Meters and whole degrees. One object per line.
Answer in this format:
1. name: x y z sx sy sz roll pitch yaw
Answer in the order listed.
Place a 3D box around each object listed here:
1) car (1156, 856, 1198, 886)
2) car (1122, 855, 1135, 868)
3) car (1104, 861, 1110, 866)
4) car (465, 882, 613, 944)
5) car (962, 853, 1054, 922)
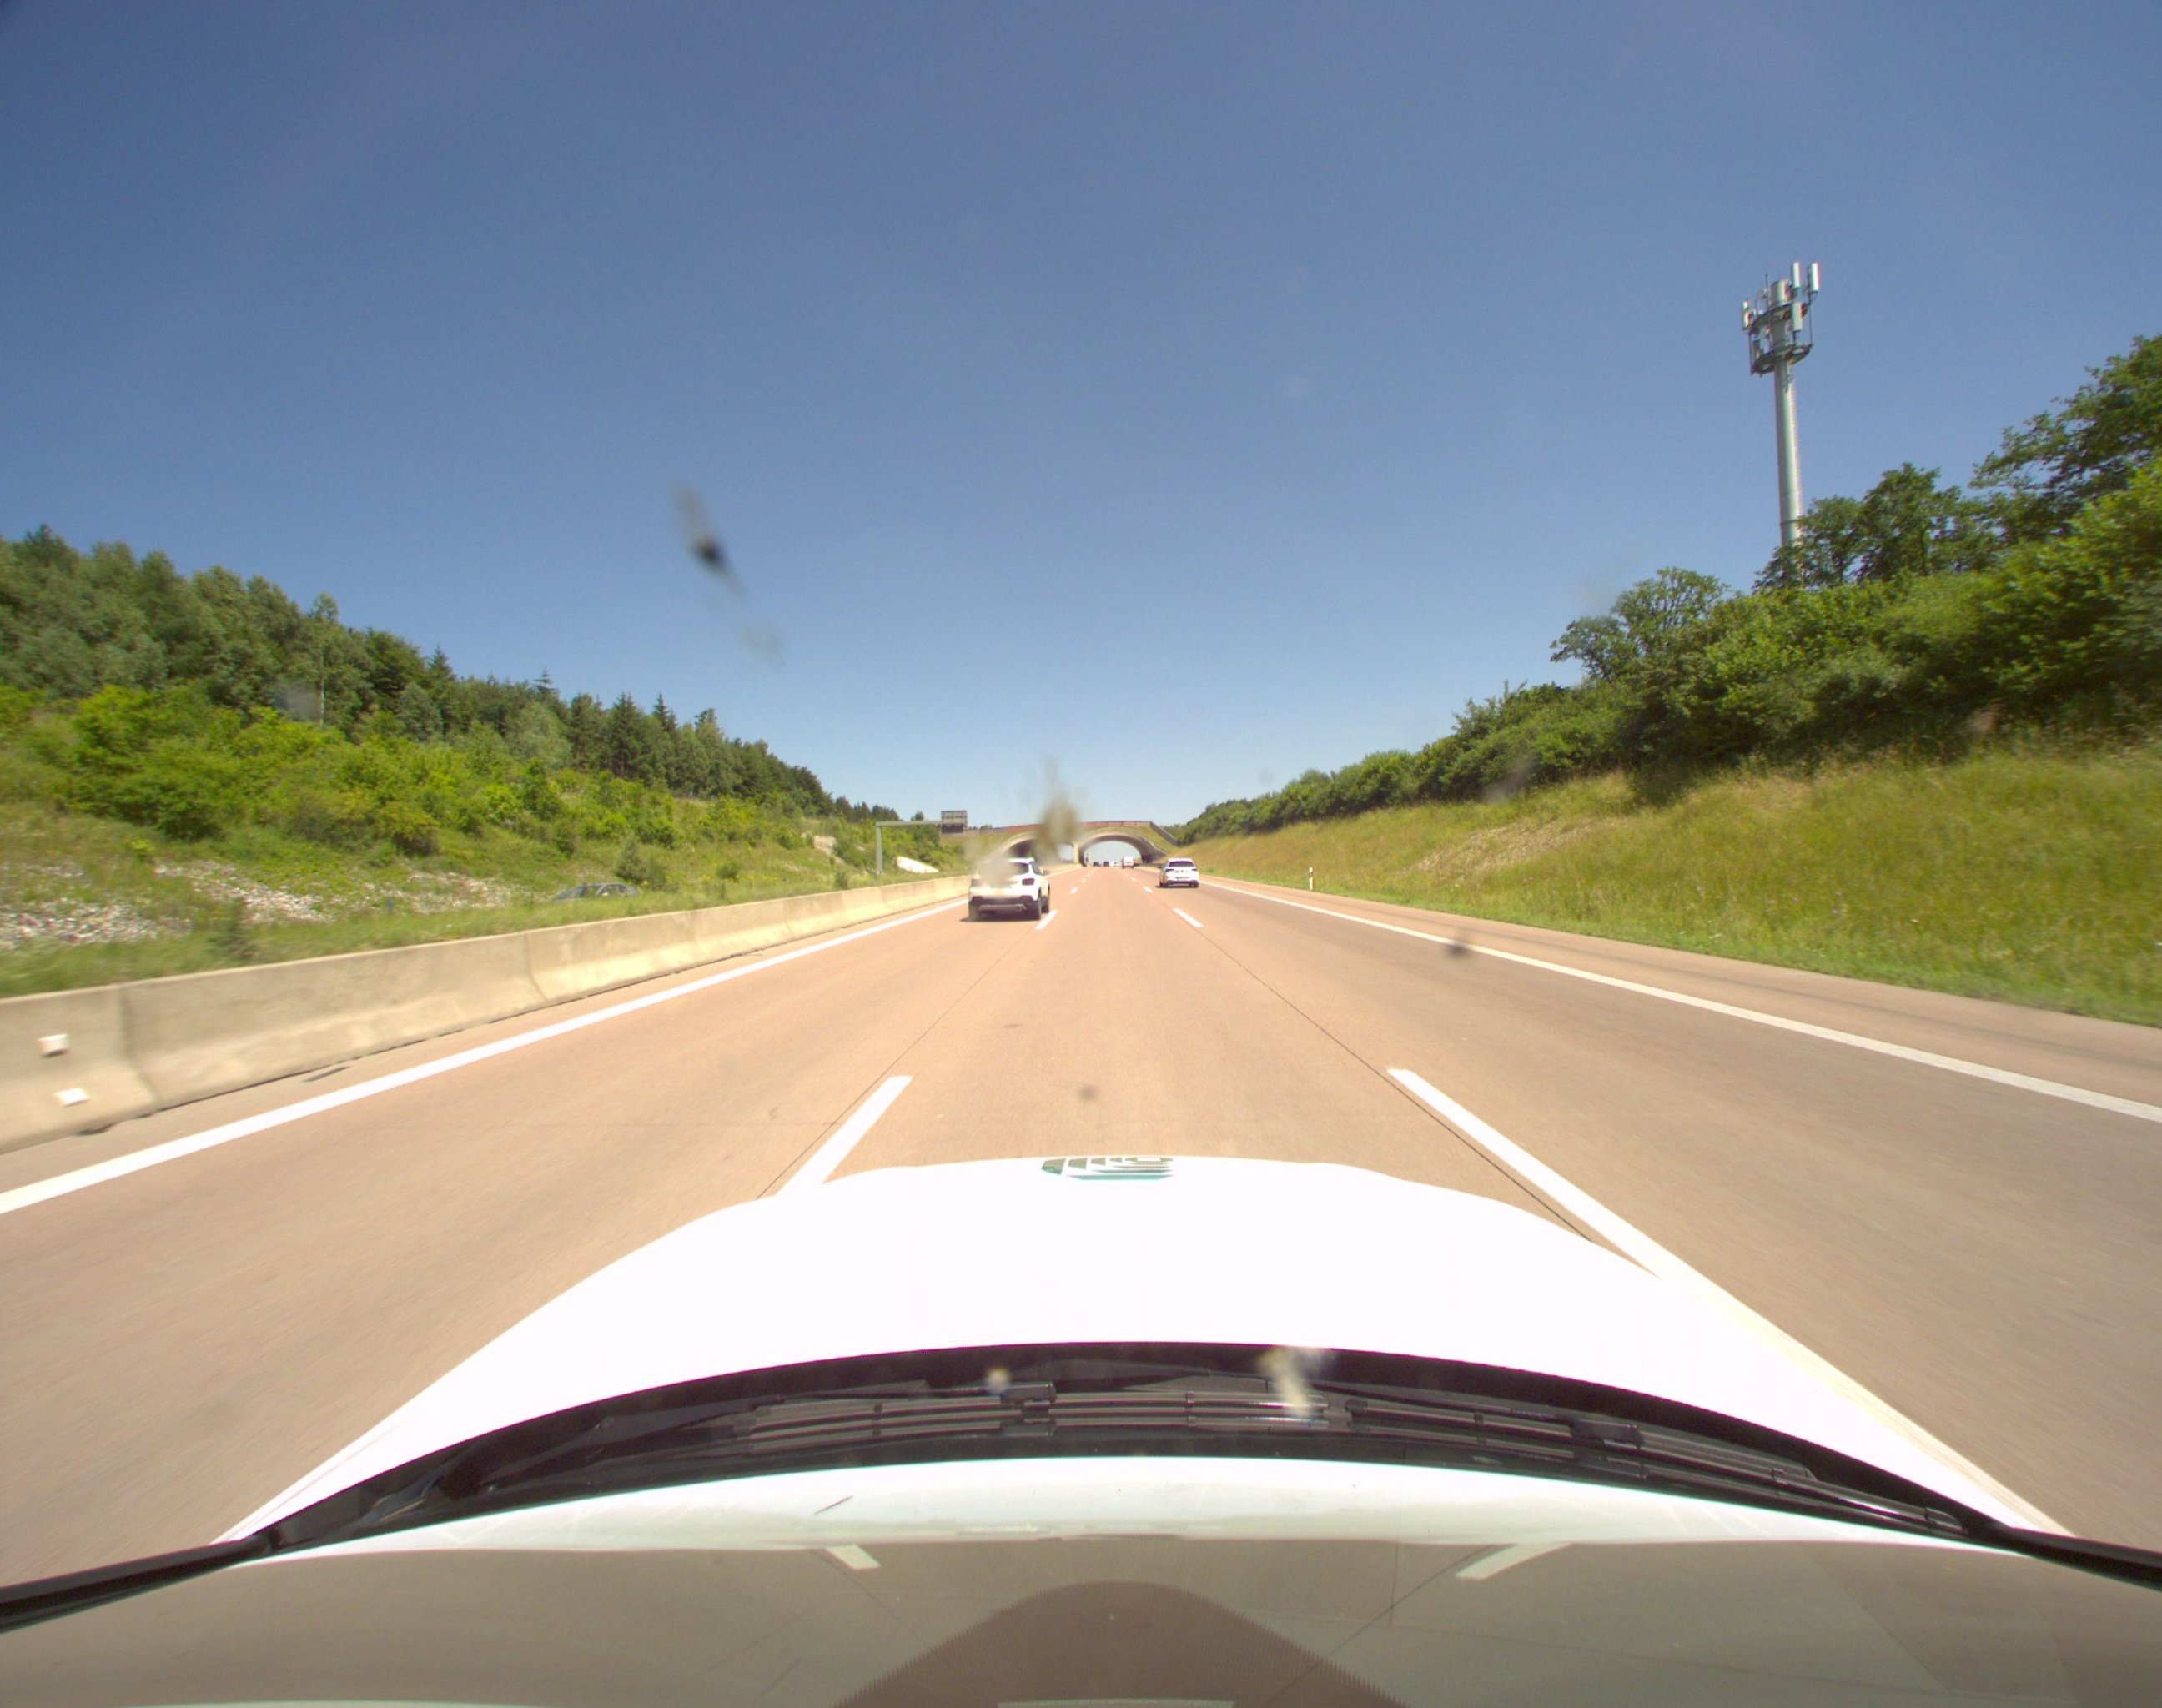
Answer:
1. car: 4.791 0.820 41.088 1.883 1.398 4.004 0 0 3
2. car: 7.580 1.197 130.199 2.101 2.053 4.004 -1 1 3
3. car: 7.562 2.733 235.482 1.883 1.463 4.002 0 0 2
4. car: -18.099 1.899 27.519 1.885 1.652 4.662 -1 1 -1
5. car: -1.820 0.795 21.737 1.872 1.607 4.835 -1 0 1
